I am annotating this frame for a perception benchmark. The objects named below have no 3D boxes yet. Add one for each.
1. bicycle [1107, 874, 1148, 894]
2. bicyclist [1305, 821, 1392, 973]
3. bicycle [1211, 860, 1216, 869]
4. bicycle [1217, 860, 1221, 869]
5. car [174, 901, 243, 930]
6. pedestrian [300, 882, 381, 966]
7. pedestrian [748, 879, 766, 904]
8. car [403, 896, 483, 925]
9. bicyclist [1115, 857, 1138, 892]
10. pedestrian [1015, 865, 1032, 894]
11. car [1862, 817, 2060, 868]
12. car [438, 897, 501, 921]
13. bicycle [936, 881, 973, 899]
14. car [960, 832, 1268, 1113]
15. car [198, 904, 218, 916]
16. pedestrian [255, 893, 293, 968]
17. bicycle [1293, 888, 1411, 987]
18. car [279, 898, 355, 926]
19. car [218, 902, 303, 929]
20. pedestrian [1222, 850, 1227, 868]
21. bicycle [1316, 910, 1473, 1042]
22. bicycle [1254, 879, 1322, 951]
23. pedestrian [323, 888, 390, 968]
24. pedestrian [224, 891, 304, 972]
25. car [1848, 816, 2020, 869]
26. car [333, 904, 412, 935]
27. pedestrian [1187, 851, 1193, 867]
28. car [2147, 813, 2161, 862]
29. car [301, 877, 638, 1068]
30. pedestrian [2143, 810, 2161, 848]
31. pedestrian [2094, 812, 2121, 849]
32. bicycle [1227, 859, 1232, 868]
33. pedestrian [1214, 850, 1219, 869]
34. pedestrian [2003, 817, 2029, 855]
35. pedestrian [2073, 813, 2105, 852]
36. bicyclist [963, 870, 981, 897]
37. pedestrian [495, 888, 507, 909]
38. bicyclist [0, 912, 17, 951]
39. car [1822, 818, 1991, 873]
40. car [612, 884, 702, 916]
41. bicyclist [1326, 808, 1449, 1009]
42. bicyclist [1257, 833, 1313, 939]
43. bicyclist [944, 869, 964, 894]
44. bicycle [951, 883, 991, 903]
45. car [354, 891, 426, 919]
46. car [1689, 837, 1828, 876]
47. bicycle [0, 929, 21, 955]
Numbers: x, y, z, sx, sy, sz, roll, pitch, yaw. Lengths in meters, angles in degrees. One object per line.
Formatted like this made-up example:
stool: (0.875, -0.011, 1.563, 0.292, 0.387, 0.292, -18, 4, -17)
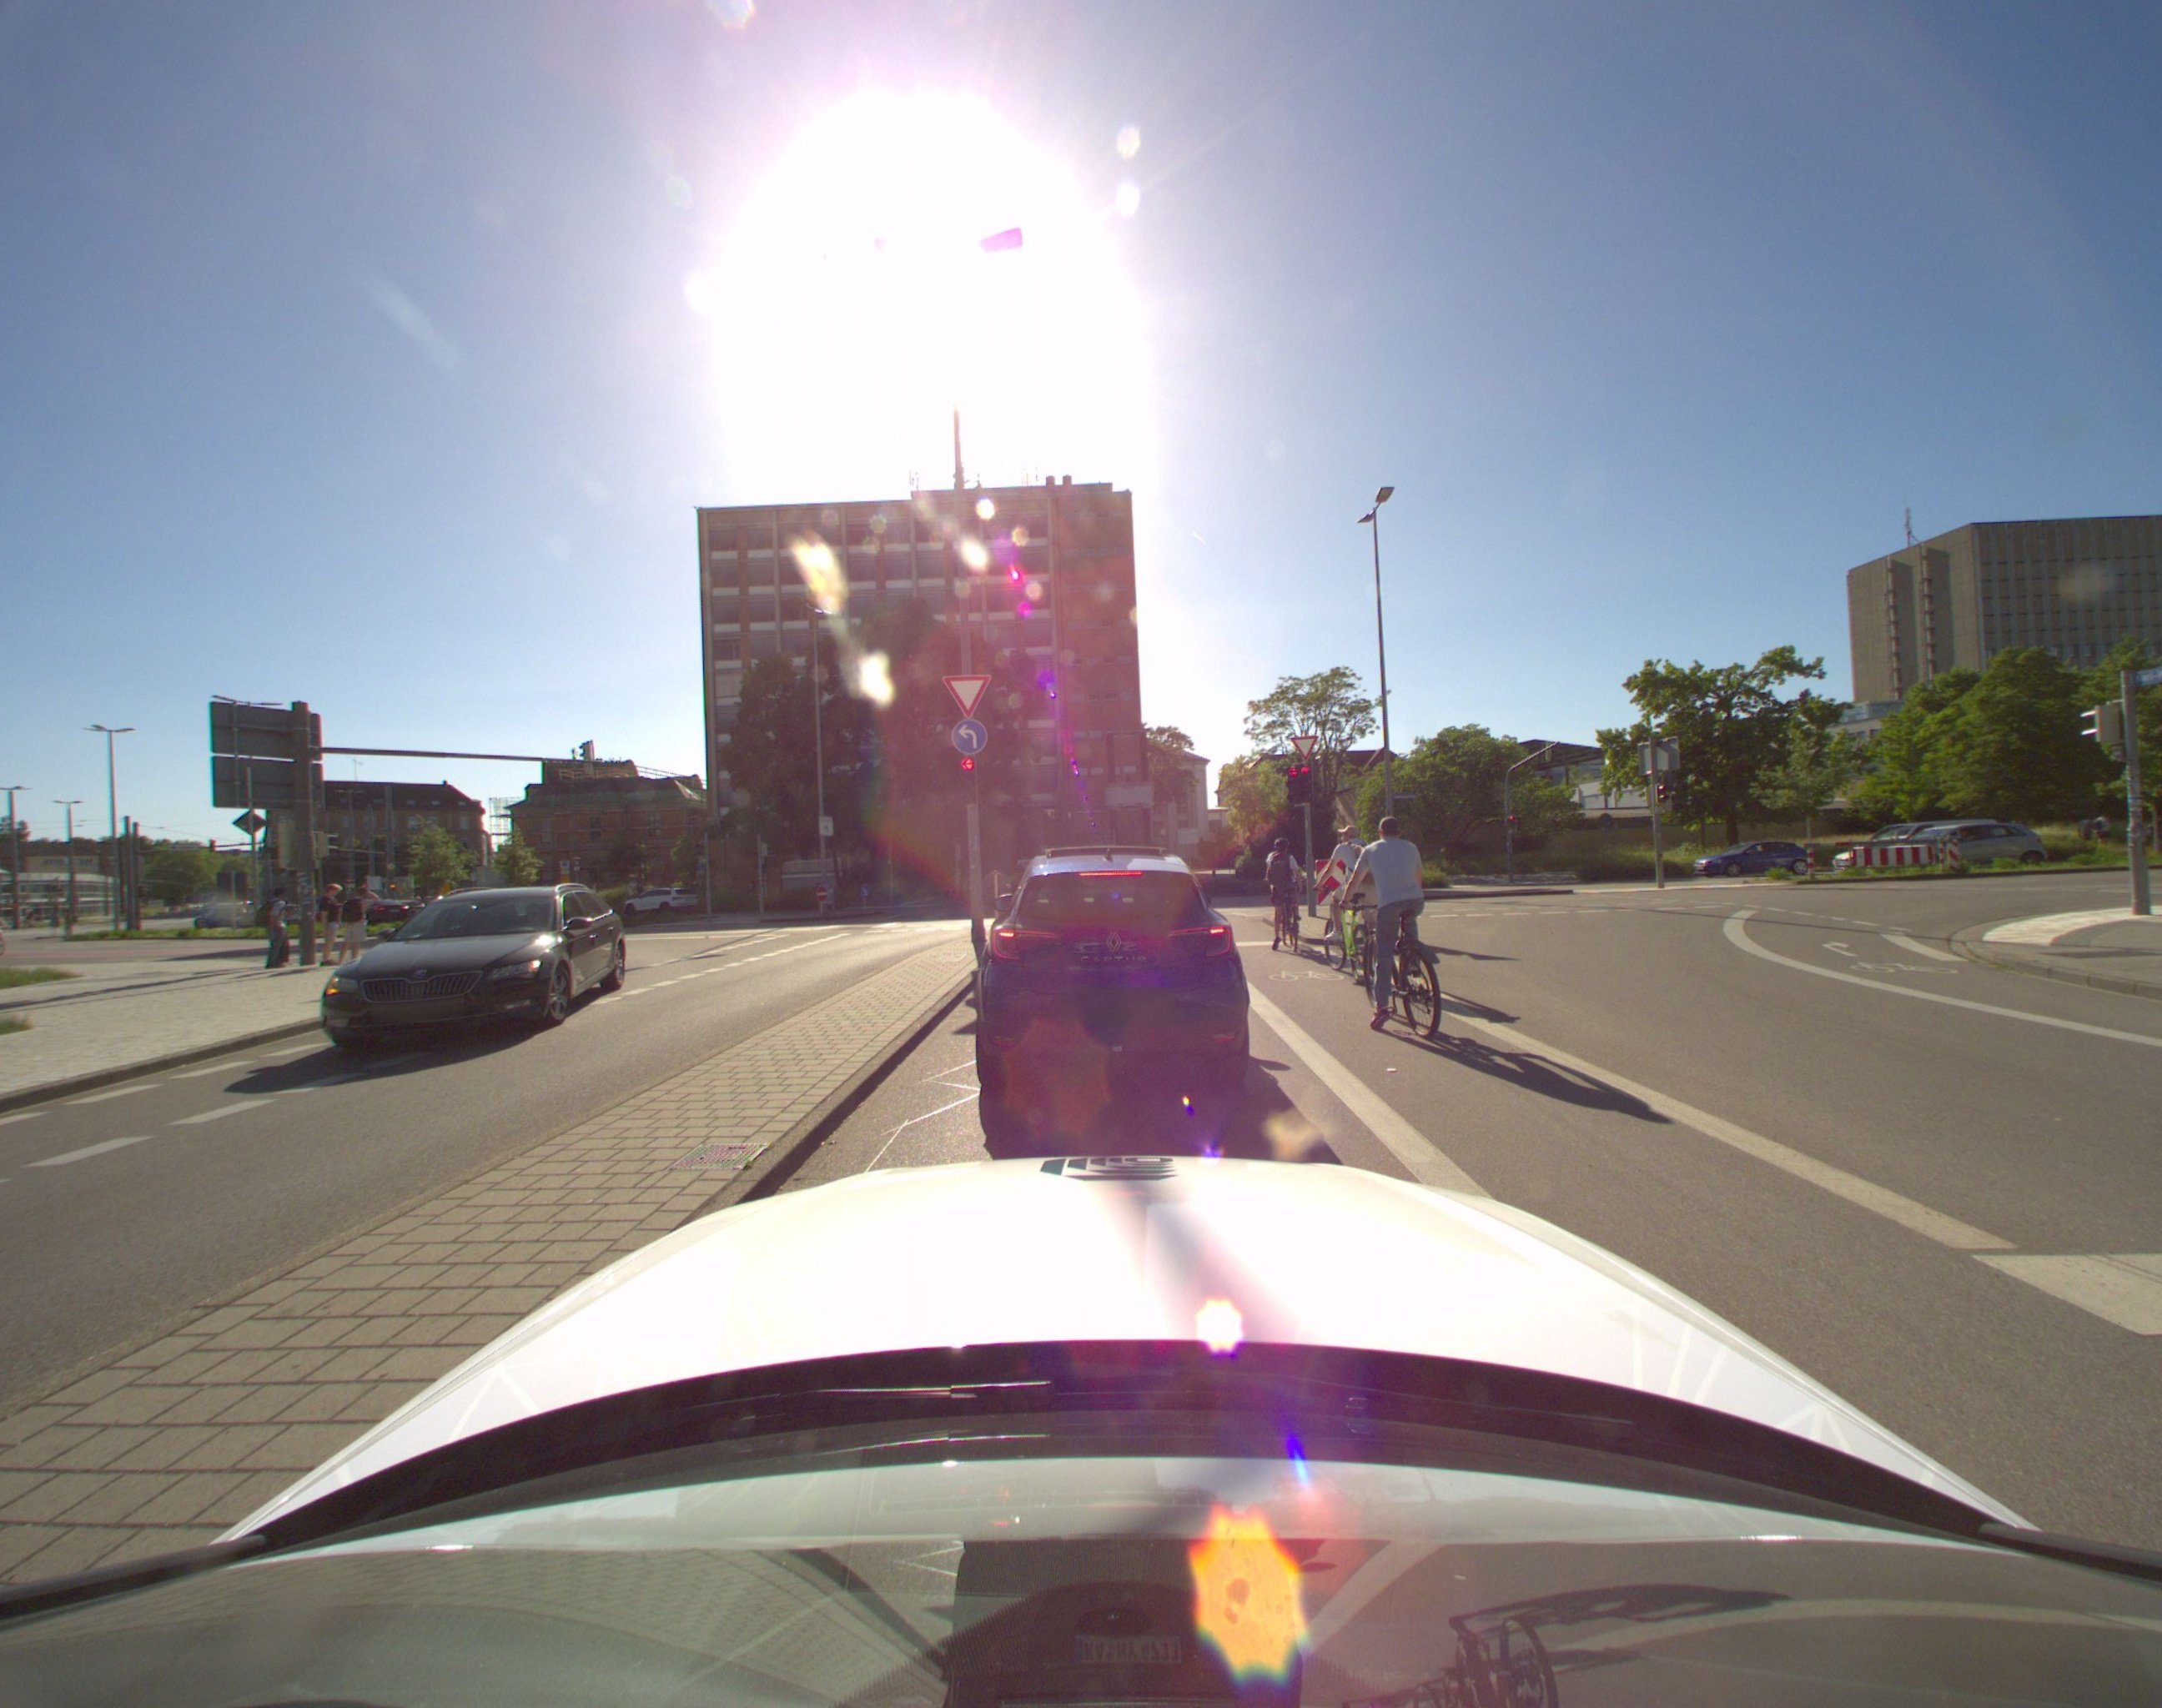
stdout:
bicycle: (2.515, 1.627, 43.870, 2.067, 0.930, 0.698, -3, 1, 13)
bicyclist: (3.214, 0.494, 9.860, 0.644, 1.739, 1.065, 0, -1, -4)
bicycle: (15.258, 1.228, 93.890, 0.403, 0.973, 1.686, 0, -1, 6)
bicycle: (15.875, 1.223, 93.832, 0.403, 0.973, 1.686, 0, -1, 6)
car: (-55.162, 3.907, 51.483, 4.331, 1.632, 1.855, -3, -1, 27)
pedestrian: (-16.904, 1.577, 18.616, 0.697, 1.800, 1.108, -5, -3, 17)
pedestrian: (-21.672, 2.509, 54.535, 0.852, 1.571, 0.562, -5, -1, 22)
car: (-35.671, 3.154, 45.536, 3.803, 1.435, 1.752, -2, -1, 21)
bicyclist: (2.445, 1.101, 43.899, 1.094, 1.867, 0.655, -3, -1, 12)
pedestrian: (-3.357, 1.486, 47.671, 0.732, 1.603, 0.601, -3, -1, 14)
car: (28.139, -0.359, 26.176, 4.025, 1.408, 1.872, -2, -1, 8)
car: (-40.651, 3.676, 54.165, 3.801, 1.435, 1.753, -3, -1, 26)
bicycle: (-7.437, 2.097, 47.839, 2.058, 0.964, 0.602, -3, -1, 22)
car: (0.202, 0.708, 6.812, 1.798, 1.632, 3.999, -1, 0, 0)
car: (-152.413, 9.740, 142.210, 3.948, 2.013, 2.013, -3, -1, 38)
pedestrian: (-19.241, 1.803, 19.413, 0.600, 1.729, 0.572, -2, -1, -45)
bicycle: (3.213, 0.955, 9.862, 0.657, 1.003, 1.967, 0, -1, -4)
car: (-48.459, 3.684, 51.659, 4.334, 1.632, 1.854, -3, -1, 23)
car: (-49.042, 3.678, 48.684, 4.841, 1.388, 1.854, -3, -1, 23)
pedestrian: (16.214, 0.602, 92.192, 0.473, 2.014, 0.469, -2, -1, 8)
bicycle: (2.719, 1.014, 7.306, 0.737, 0.896, 1.980, 0, -1, 3)
bicycle: (3.246, 0.928, 12.944, 0.735, 0.995, 2.177, 0, -1, 6)
pedestrian: (-16.196, 1.642, 18.204, 0.785, 1.690, 0.793, -6, -3, 20)
pedestrian: (-18.142, 1.704, 18.106, 0.900, 1.690, 0.839, -4, -3, -3)
car: (35.251, -0.441, 33.770, 4.856, 2.107, 2.002, 0, -1, 4)
car: (-42.563, 3.920, 48.906, 4.334, 1.632, 1.854, -3, -1, 23)
pedestrian: (13.138, 0.625, 98.213, 0.621, 1.856, 0.563, -2, -1, 2)
car: (36.984, -0.623, 25.358, 4.713, 1.584, 2.002, -2, -1, 3)
car: (-6.675, 1.098, 9.590, 1.820, 1.505, 4.750, -4, 0, -21)
pedestrian: (51.496, -1.182, 38.967, 0.559, 1.778, 0.528, -2, -1, 5)
pedestrian: (50.527, -1.150, 40.098, 0.559, 1.778, 0.528, -2, -1, 5)
bicycle: (17.188, 1.073, 94.183, 0.403, 0.973, 1.686, 0, -1, 6)
pedestrian: (15.102, 0.599, 90.867, 0.473, 2.014, 0.524, -2, -1, 8)
pedestrian: (45.766, -0.875, 39.854, 0.559, 1.778, 0.528, -2, -1, 5)
pedestrian: (47.775, -1.013, 38.605, 0.559, 1.848, 0.714, -2, -1, 5)
bicyclist: (-5.890, 1.596, 44.064, 0.741, 1.441, 0.593, -2, -1, -25)
pedestrian: (-46.727, 3.588, 65.612, 0.541, 1.615, 0.653, -3, -1, 41)
bicyclist: (-43.227, 3.122, 32.441, 1.059, 1.500, 0.745, -5, -1, 23)
car: (30.820, -0.291, 30.544, 3.962, 1.815, 2.006, -2, -1, 10)
car: (-24.644, 2.677, 47.364, 4.783, 1.632, 1.853, -2, -1, 20)
bicyclist: (2.711, 0.461, 7.305, 0.748, 1.668, 1.017, 0, -1, 3)
bicyclist: (3.237, 0.501, 12.997, 0.722, 1.629, 0.970, 0, -1, 6)
bicyclist: (-7.457, 1.630, 47.845, 0.928, 1.429, 0.602, -3, -1, 22)
bicycle: (-5.928, 2.112, 44.036, 2.016, 0.964, 0.593, -2, -1, -25)
car: (-44.845, 3.307, 52.845, 4.333, 1.632, 1.855, -3, -1, 25)
car: (28.216, 0.100, 34.017, 4.140, 1.435, 1.747, -2, -1, 8)
bicycle: (-43.203, 3.545, 32.426, 1.966, 0.995, 0.745, -5, -1, 23)
